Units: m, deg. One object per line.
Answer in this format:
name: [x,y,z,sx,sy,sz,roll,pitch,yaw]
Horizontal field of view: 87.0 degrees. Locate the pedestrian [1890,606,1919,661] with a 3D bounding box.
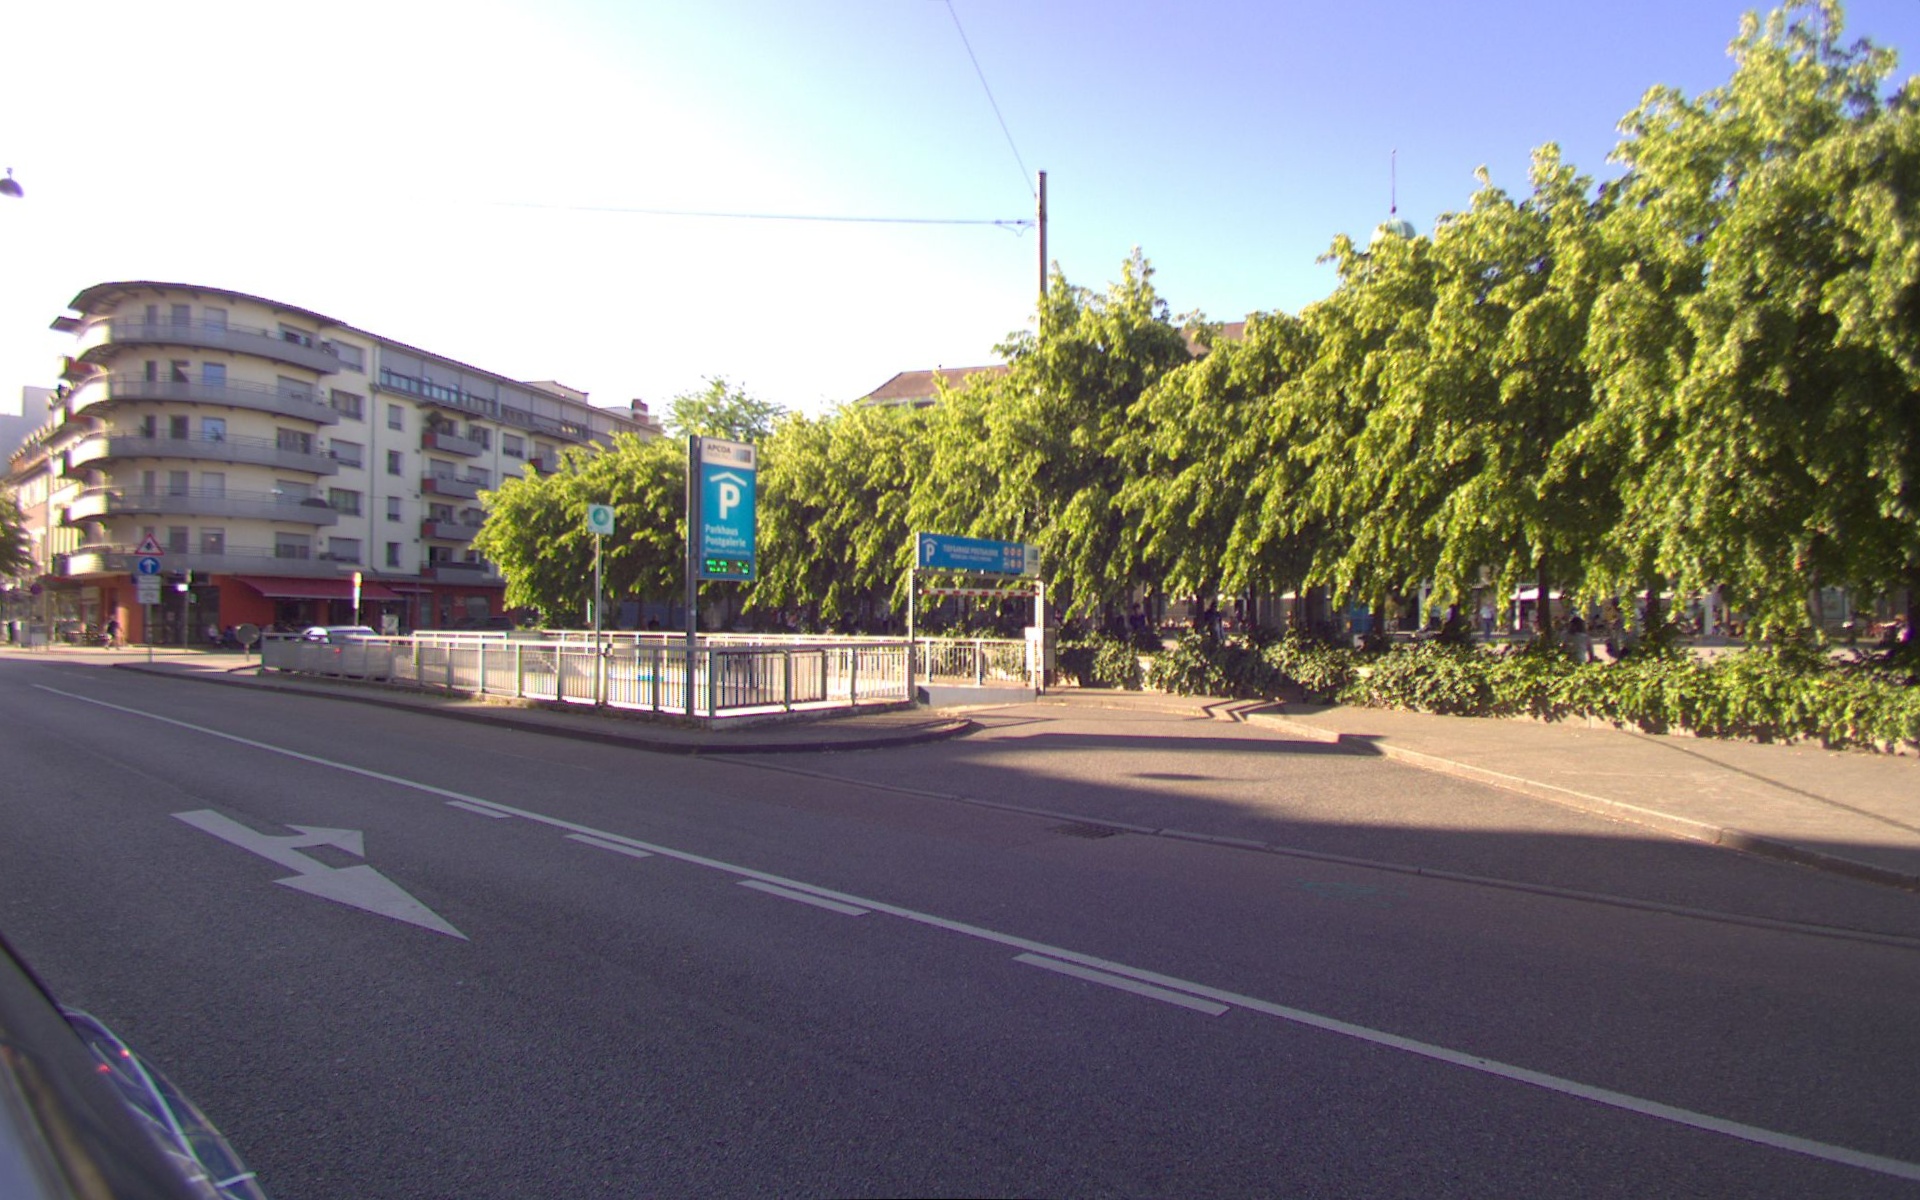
pedestrian: [30.109,1.049,32.138,0.641,1.734,0.605,-1,0,18]

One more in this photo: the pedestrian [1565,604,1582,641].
pedestrian: [33.095,1.223,54.575,0.676,1.963,0.632,-1,0,38]

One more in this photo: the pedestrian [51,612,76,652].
pedestrian: [-46.563,1.660,52.574,0.888,2.029,0.850,-1,0,40]

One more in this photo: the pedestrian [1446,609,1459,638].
pedestrian: [29.677,1.429,61.011,0.642,1.734,0.604,-1,0,20]

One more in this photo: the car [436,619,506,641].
car: [-30.508,1.876,63.216,1.742,1.311,3.977,-1,-1,17]

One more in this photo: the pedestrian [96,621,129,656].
pedestrian: [-40.668,1.838,48.582,0.877,1.607,0.861,-1,0,2]

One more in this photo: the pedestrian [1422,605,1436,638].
pedestrian: [24.254,1.110,52.349,0.643,1.734,0.603,-1,0,26]

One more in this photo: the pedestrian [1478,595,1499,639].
pedestrian: [21.141,0.667,40.480,0.643,1.734,0.604,-1,0,22]

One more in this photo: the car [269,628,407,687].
car: [-16.662,1.499,27.046,4.260,1.363,1.801,0,-3,39]

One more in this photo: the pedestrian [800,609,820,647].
pedestrian: [-7.002,1.305,47.253,0.606,1.734,0.640,-1,0,31]

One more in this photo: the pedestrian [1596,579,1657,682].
pedestrian: [10.949,0.486,16.635,0.645,1.661,0.626,-1,0,-35]

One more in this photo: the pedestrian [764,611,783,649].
pedestrian: [-8.472,1.362,46.055,0.604,1.734,0.642,-1,0,21]
